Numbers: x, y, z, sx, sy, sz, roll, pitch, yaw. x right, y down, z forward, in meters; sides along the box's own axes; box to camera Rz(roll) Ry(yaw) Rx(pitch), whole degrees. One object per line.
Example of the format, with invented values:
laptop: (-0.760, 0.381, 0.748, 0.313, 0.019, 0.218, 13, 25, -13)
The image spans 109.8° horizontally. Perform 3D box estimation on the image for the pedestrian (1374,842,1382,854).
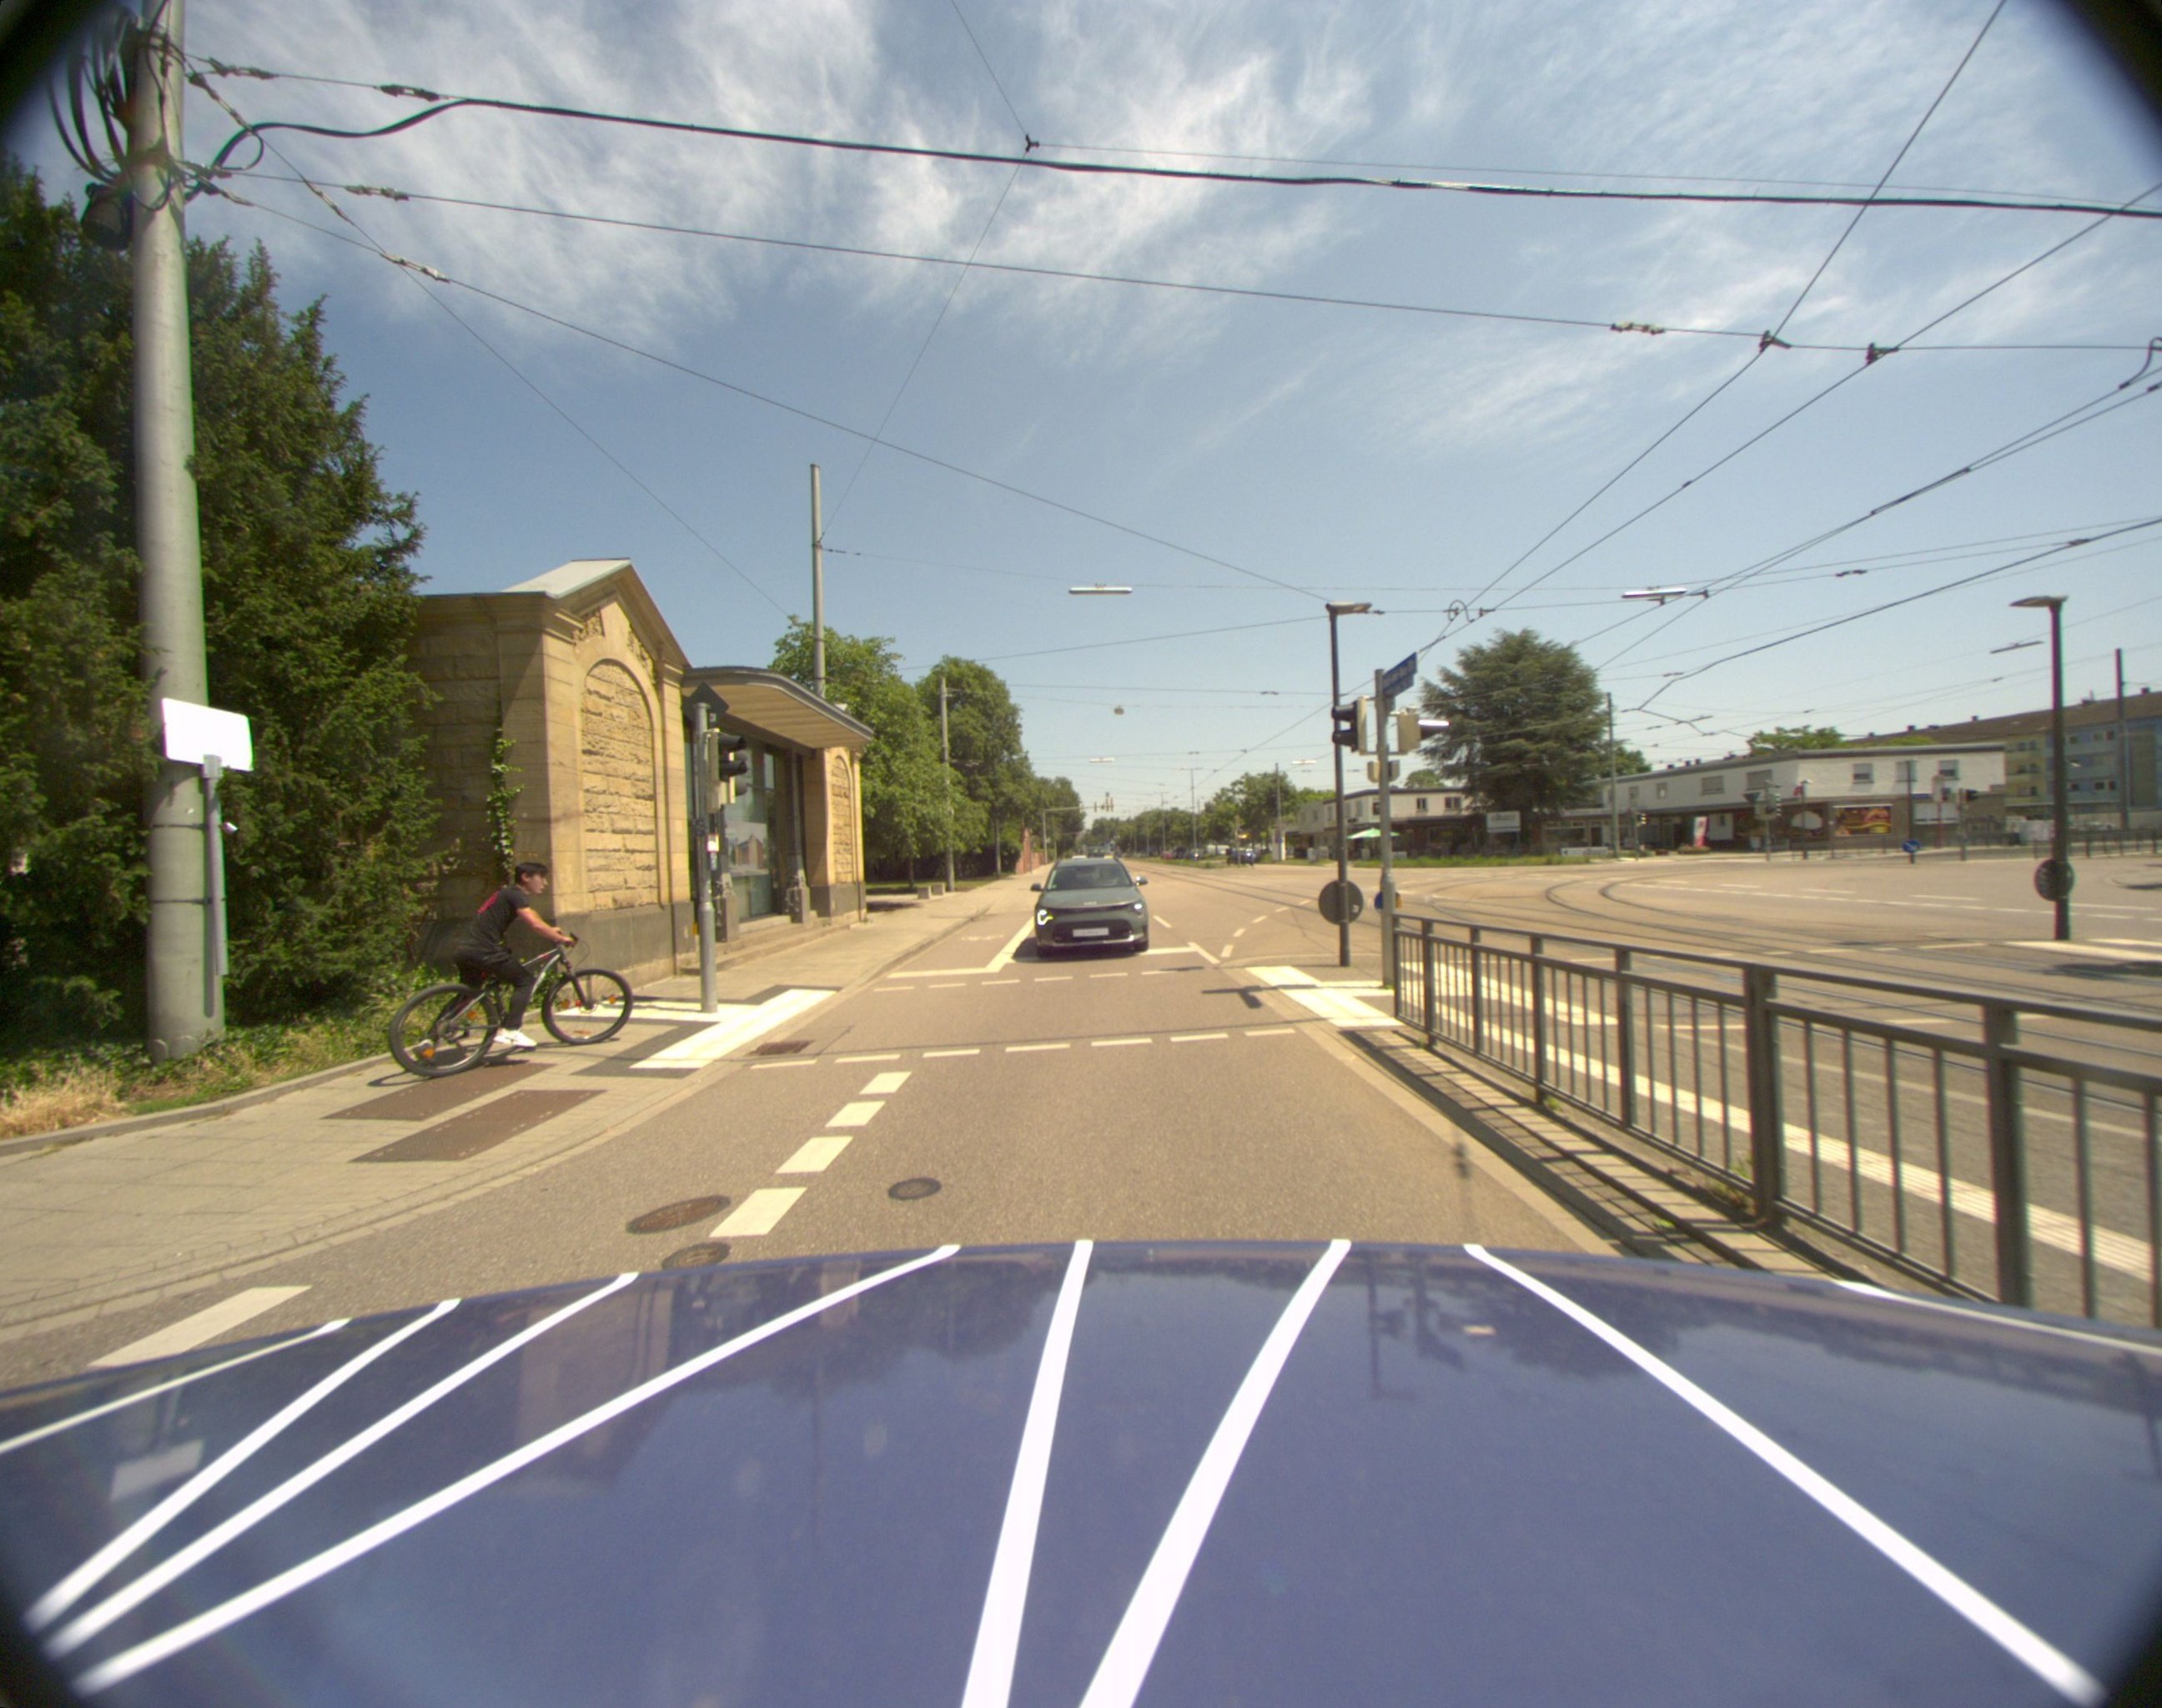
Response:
pedestrian: (30.113, -0.604, 77.127, 0.518, 1.202, 0.674, -2, 0, 0)

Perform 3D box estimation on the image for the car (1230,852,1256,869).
car: (16.252, 0.627, 76.428, 1.798, 1.570, 4.495, -1, 0, 2)

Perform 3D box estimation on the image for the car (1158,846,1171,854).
car: (15.222, -0.760, 138.578, 1.629, 1.475, 3.827, -2, 0, -4)

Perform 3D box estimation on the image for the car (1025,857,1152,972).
car: (0.131, 0.923, 13.478, 1.789, 1.561, 4.184, -4, 0, 1)

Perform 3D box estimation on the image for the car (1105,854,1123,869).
car: (3.208, 0.706, 74.861, 1.620, 1.413, 3.655, 1, 0, -1)

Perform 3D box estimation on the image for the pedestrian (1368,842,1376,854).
pedestrian: (29.519, -0.602, 77.151, 0.518, 1.192, 0.674, -2, 0, 0)

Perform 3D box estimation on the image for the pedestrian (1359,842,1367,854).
pedestrian: (28.869, -0.602, 77.839, 0.576, 1.231, 0.491, -2, 0, 0)

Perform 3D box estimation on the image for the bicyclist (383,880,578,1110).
bicyclist: (-4.735, 1.035, 6.030, 0.833, 1.608, 0.861, 2, 0, 23)

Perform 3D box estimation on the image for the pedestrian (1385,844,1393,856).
pedestrian: (28.950, -0.347, 71.394, 0.518, 1.121, 0.674, -2, 0, 0)

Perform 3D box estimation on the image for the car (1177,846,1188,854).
car: (19.418, -0.780, 145.736, 1.675, 1.378, 3.670, -1, 0, 2)

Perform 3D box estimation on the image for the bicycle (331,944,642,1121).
bicycle: (-4.689, 1.339, 6.185, 0.669, 0.996, 1.867, 2, 0, 23)

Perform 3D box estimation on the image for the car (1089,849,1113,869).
car: (1.693, 0.387, 66.771, 1.998, 1.652, 4.000, -1, 0, 0)

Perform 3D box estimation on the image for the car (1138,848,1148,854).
car: (15.482, -0.739, 189.455, 1.999, 1.543, 4.138, 1, 0, -4)

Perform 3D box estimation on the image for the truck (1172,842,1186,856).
truck: (19.583, -0.978, 151.908, 2.225, 2.526, 4.929, -1, 0, 0)

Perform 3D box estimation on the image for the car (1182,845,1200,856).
car: (15.441, -0.467, 106.596, 1.714, 1.430, 3.864, -2, 0, -3)

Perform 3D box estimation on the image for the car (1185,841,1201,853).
car: (19.006, -1.219, 129.307, 1.998, 1.872, 4.661, -1, 0, 0)
